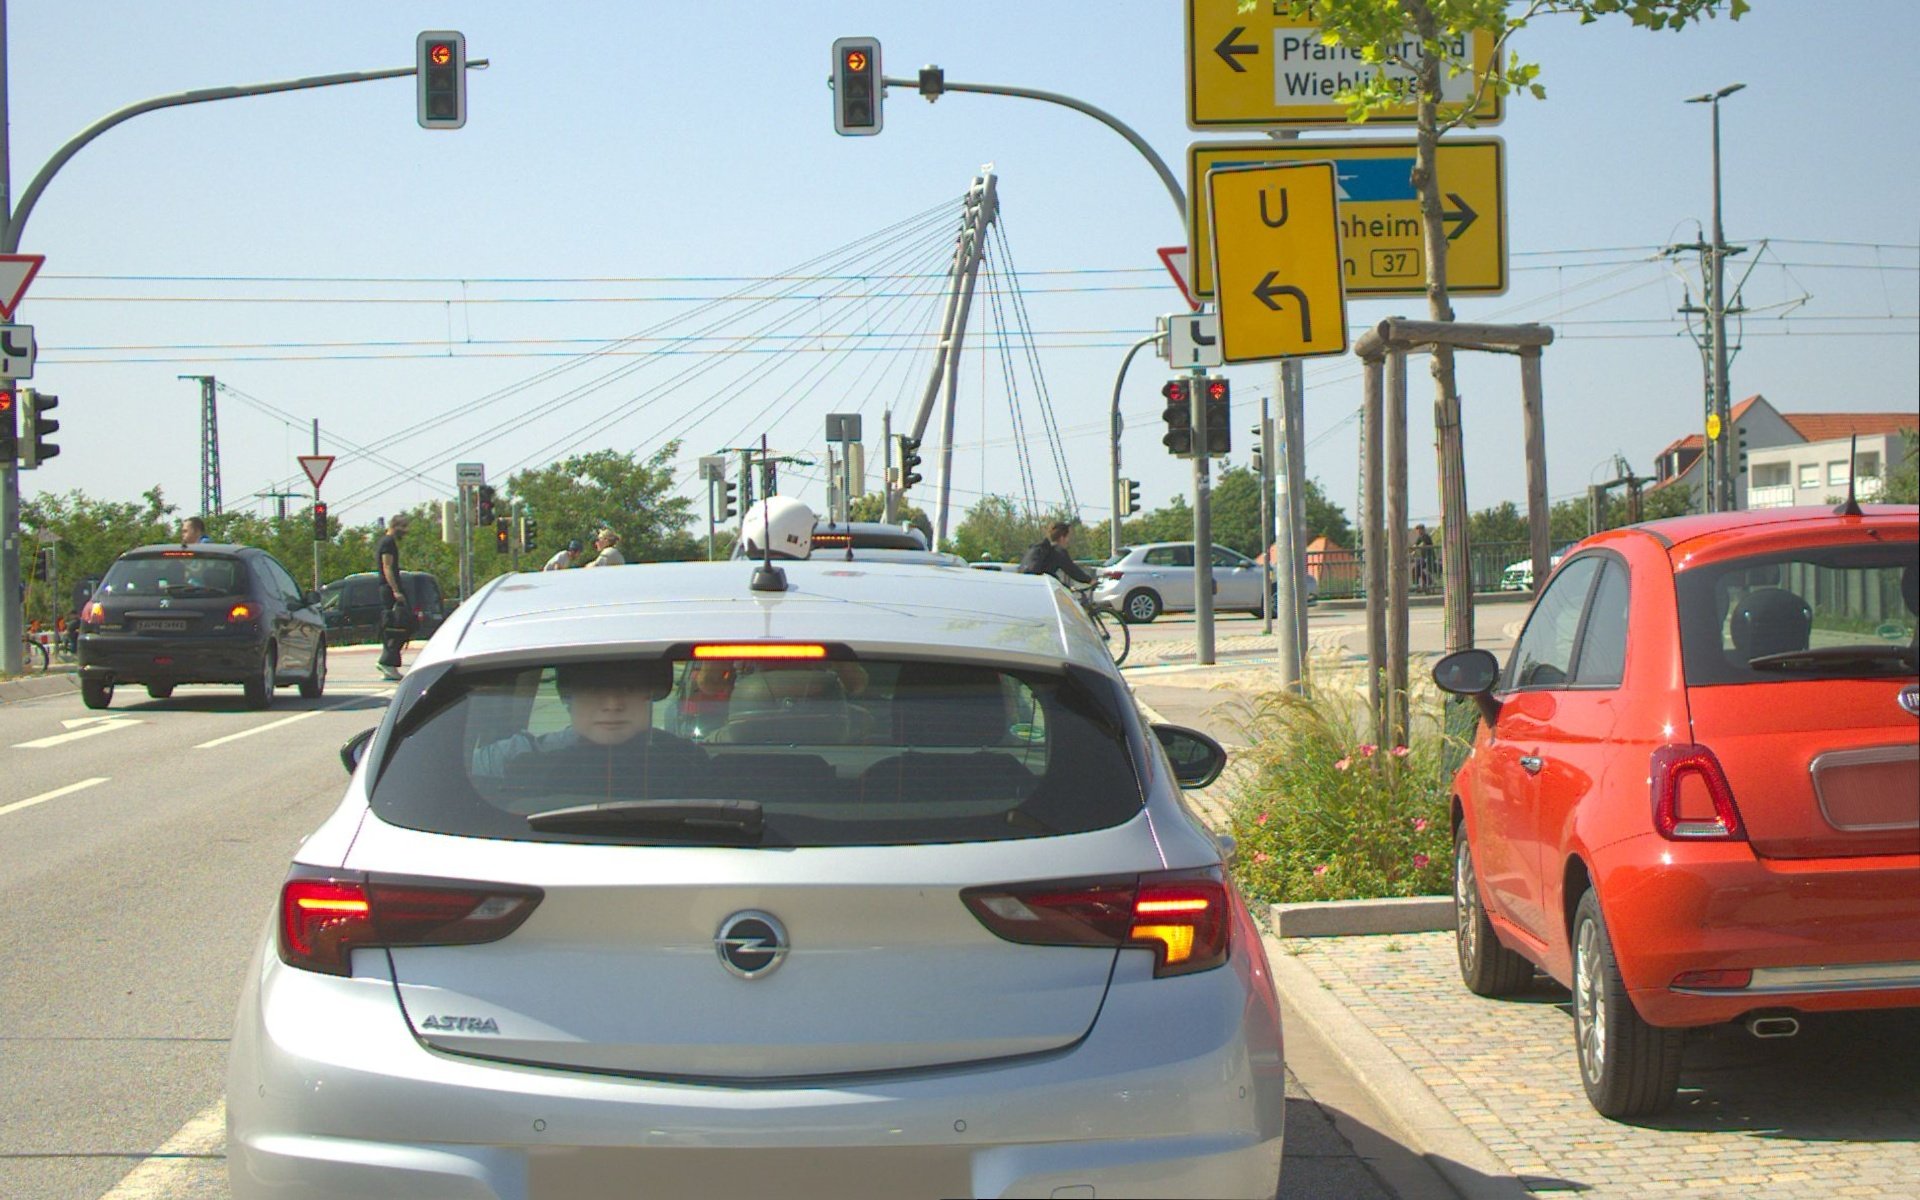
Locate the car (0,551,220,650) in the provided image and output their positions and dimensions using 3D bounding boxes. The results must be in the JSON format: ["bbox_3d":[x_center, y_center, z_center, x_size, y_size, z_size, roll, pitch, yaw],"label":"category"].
[{"bbox_3d":[-16.289,-0.006,65.064,4.037,1.808,1.930,1,0,20],"label":"car"}]

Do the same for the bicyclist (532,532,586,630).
[{"bbox_3d":[-6.678,-0.322,57.314,0.771,1.604,0.949,1,0,0],"label":"bicyclist"}]

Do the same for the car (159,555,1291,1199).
[{"bbox_3d":[-0.398,0.669,7.290,1.690,1.514,4.271,0,1,-1],"label":"car"}]

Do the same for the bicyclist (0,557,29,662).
[{"bbox_3d":[-10.953,0.106,38.807,0.657,1.171,0.731,1,0,1],"label":"bicyclist"}]

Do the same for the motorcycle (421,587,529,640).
[{"bbox_3d":[-11.827,0.332,83.879,2.536,1.229,0.648,1,0,-1],"label":"motorcycle"}]

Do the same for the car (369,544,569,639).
[{"bbox_3d":[-10.950,-0.189,76.817,3.988,2.007,1.999,1,0,8],"label":"car"}]

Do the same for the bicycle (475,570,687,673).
[{"bbox_3d":[-4.309,0.243,39.206,2.357,1.123,0.677,1,0,-3],"label":"bicycle"}]

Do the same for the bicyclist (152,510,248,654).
[{"bbox_3d":[-8.404,-0.196,38.052,0.822,1.554,0.863,1,0,2],"label":"bicyclist"}]

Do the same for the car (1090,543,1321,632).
[{"bbox_3d":[4.482,-0.220,63.110,3.973,1.546,1.676,-1,0,-6],"label":"car"}]

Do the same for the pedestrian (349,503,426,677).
[{"bbox_3d":[-6.215,-0.103,37.312,0.740,1.857,0.754,1,0,-14],"label":"pedestrian"}]

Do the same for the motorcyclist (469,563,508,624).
[{"bbox_3d":[-11.502,-0.153,83.867,0.809,1.471,0.885,1,0,-1],"label":"motorcyclist"}]

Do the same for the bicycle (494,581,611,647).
[{"bbox_3d":[-6.792,0.226,57.318,1.866,1.064,0.578,1,0,2],"label":"bicycle"}]

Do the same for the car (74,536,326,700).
[{"bbox_3d":[-6.779,0.148,30.928,1.587,1.390,3.340,0,0,-1],"label":"car"}]

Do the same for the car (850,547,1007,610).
[{"bbox_3d":[-0.701,-0.471,76.073,3.211,1.300,1.524,1,0,-12],"label":"car"}]

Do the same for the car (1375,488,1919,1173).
[{"bbox_3d":[2.347,0.480,10.031,1.669,1.534,3.917,-2,2,-1],"label":"car"}]

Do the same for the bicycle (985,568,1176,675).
[{"bbox_3d":[1.361,0.236,38.733,2.080,1.174,0.555,0,0,-20],"label":"bicycle"}]

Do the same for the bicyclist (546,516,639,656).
[{"bbox_3d":[-4.185,-0.158,39.210,0.945,1.563,0.823,1,0,-1],"label":"bicyclist"}]

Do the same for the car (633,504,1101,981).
[{"bbox_3d":[-0.373,0.506,14.153,1.634,1.668,3.745,1,0,-1],"label":"car"}]

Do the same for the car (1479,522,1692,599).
[{"bbox_3d":[14.028,-0.870,77.164,4.244,1.668,2.001,0,0,-18],"label":"car"}]

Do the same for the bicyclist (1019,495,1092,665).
[{"bbox_3d":[1.074,-0.221,38.630,0.593,1.881,0.637,1,0,-20],"label":"bicyclist"}]

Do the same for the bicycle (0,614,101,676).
[{"bbox_3d":[-10.881,0.508,38.813,2.246,0.690,0.516,0,0,0],"label":"bicycle"}]
